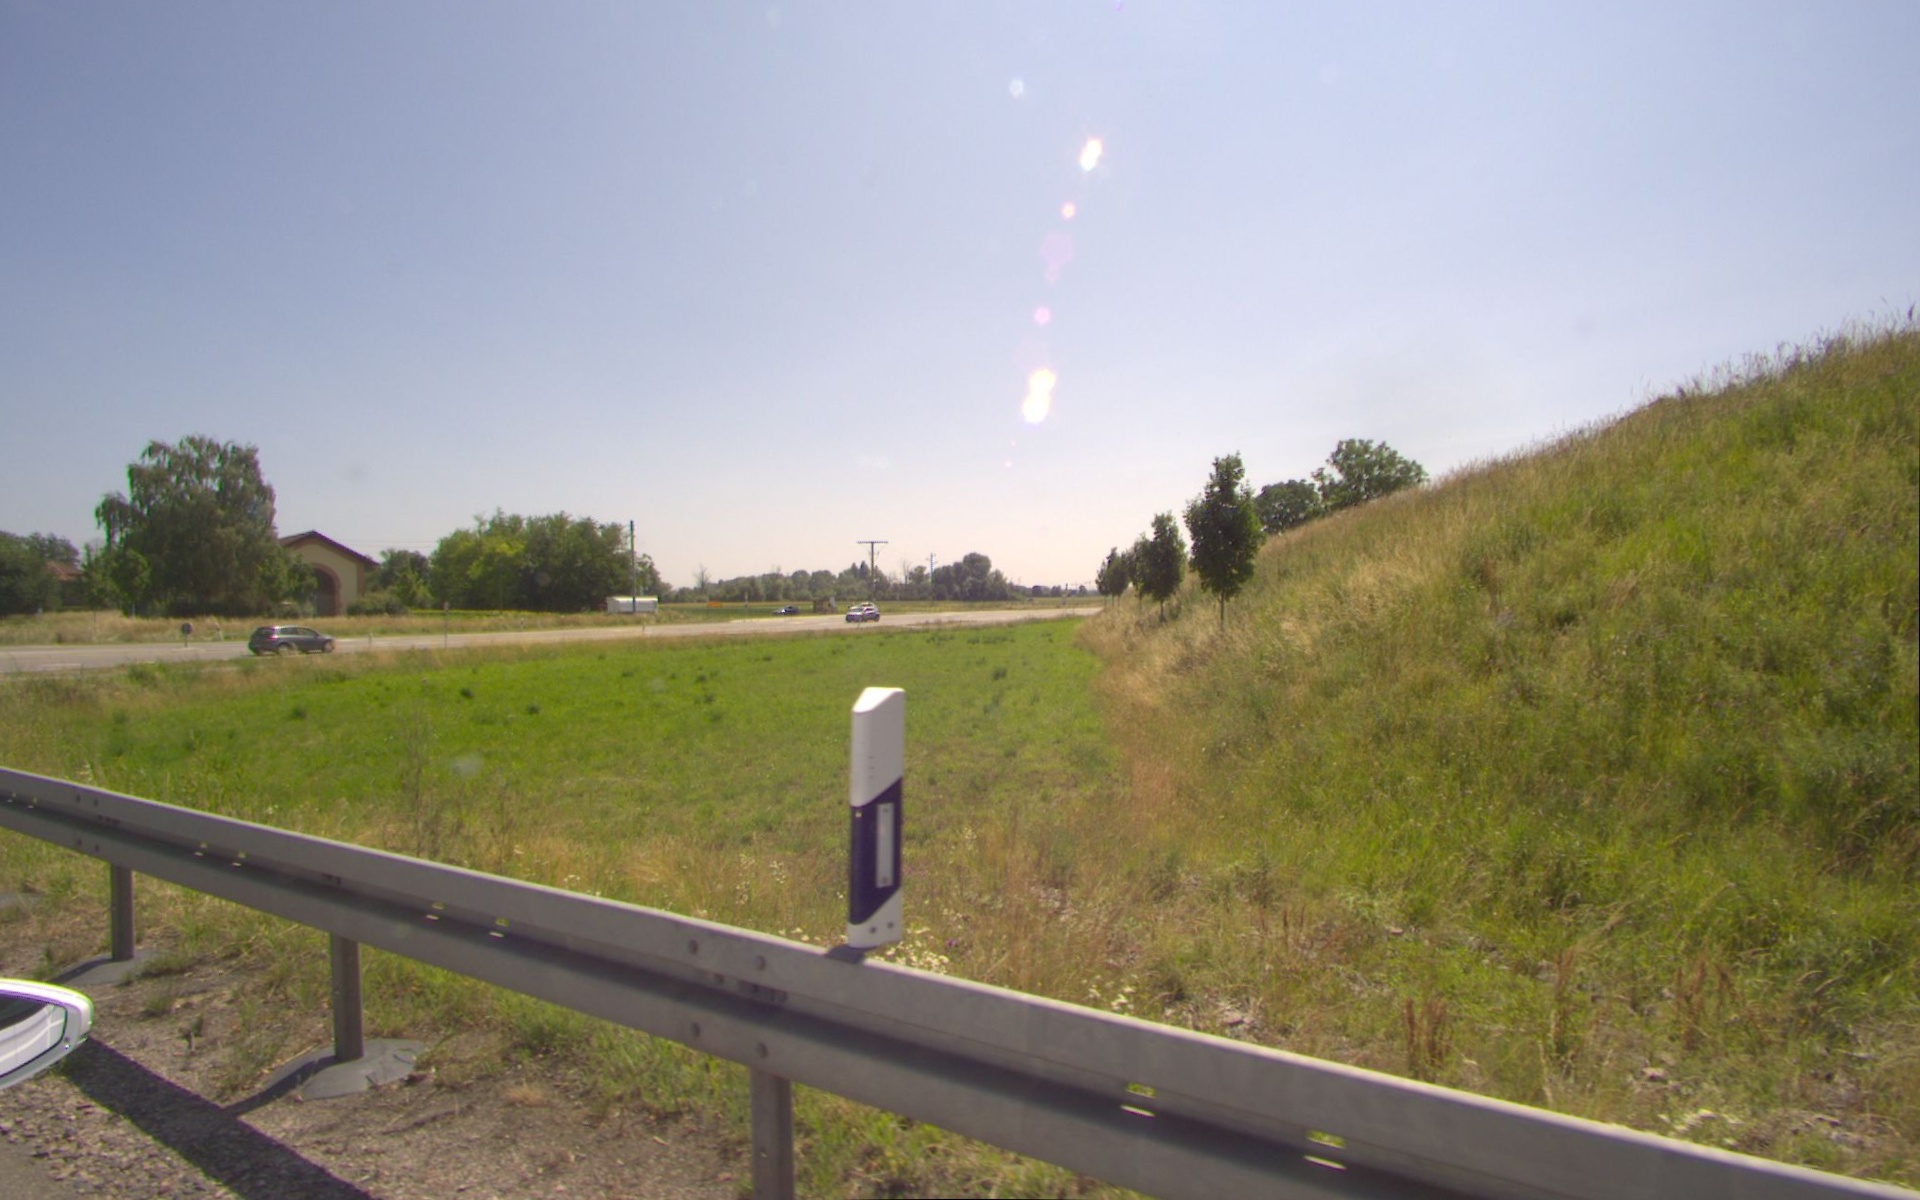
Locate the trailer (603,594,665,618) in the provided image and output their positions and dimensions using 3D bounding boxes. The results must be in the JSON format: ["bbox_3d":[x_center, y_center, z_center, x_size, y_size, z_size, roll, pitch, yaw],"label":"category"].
[{"bbox_3d":[-36.363,0.662,111.910,2.651,2.489,6.340,1,1,36],"label":"trailer"}]

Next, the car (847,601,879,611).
[{"bbox_3d":[-13.136,0.826,136.119,3.972,1.350,1.690,1,1,-23],"label":"car"}]

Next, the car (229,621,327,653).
[{"bbox_3d":[-34.414,1.867,50.642,1.773,1.541,3.878,-1,-1,16],"label":"car"}]

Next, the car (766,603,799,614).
[{"bbox_3d":[-22.317,1.076,125.982,1.659,1.406,3.809,2,1,40],"label":"car"}]

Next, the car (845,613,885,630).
[{"bbox_3d":[-9.852,2.174,103.819,1.844,1.565,4.528,1,1,31],"label":"car"}]
